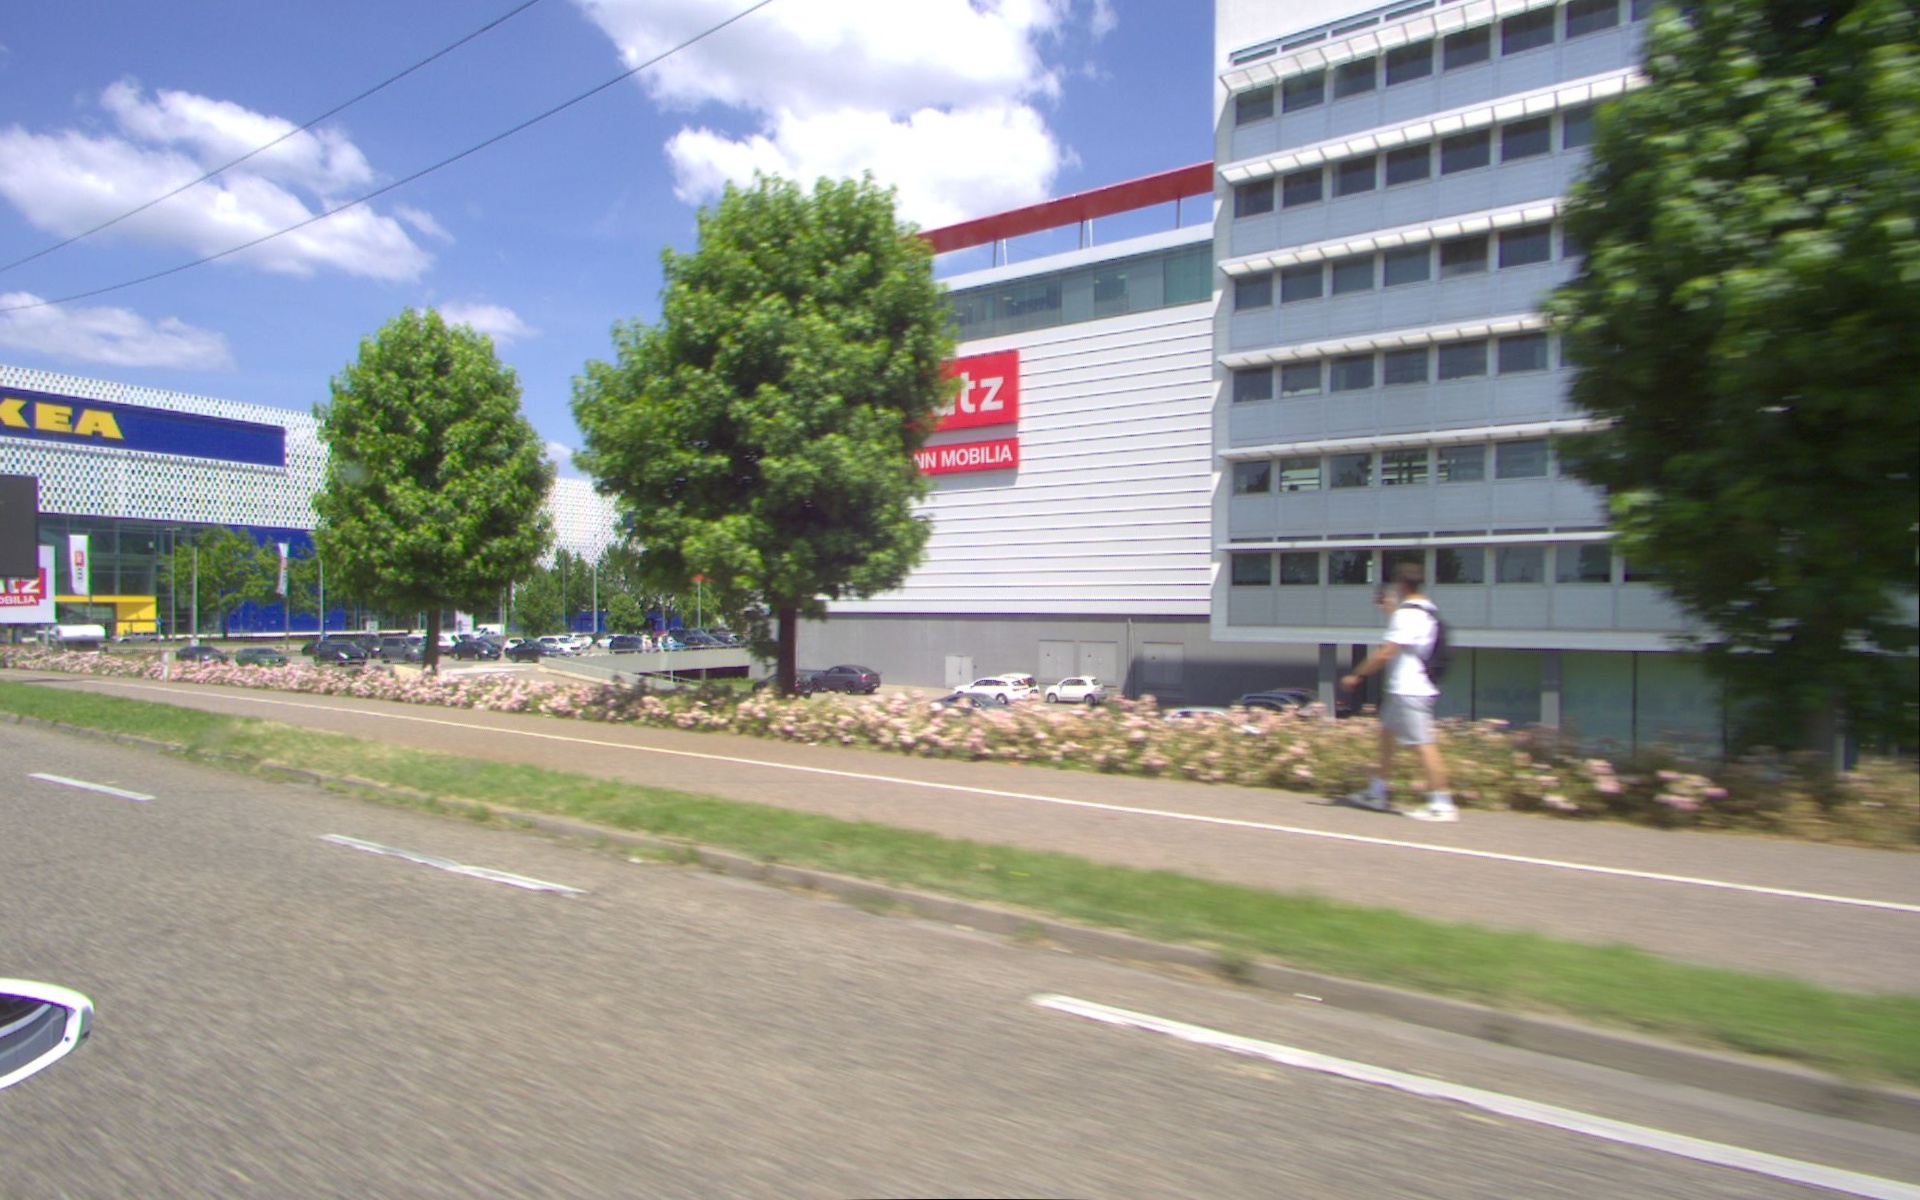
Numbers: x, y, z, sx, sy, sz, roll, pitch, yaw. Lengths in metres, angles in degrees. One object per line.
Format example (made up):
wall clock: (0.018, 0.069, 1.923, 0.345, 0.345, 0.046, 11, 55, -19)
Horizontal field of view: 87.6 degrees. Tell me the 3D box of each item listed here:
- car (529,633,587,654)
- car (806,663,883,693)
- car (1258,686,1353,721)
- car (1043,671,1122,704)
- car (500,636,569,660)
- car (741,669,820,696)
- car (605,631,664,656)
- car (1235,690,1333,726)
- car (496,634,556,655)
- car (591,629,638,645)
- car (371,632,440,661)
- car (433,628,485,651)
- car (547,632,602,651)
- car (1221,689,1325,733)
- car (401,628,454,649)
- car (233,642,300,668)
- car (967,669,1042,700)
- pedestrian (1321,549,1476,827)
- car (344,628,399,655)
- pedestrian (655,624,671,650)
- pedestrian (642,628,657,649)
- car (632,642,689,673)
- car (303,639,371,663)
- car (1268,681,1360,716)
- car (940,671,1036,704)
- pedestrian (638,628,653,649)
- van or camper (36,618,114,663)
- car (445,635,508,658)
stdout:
car: (-33.597, 3.591, 83.708, 4.928, 1.671, 1.991, -1, -2, 32)
car: (-7.166, 4.803, 62.063, 4.523, 1.632, 1.991, -1, -2, 31)
car: (16.109, 4.797, 46.687, 3.942, 1.403, 1.641, -1, -2, 31)
car: (6.815, 4.853, 55.919, 3.942, 1.632, 1.991, -1, -2, 31)
car: (-30.017, 3.389, 70.614, 4.928, 1.631, 1.991, -1, -2, 32)
car: (-10.526, 4.787, 58.555, 4.287, 1.416, 1.992, -1, -2, 30)
car: (-24.936, 3.301, 76.672, 4.270, 1.803, 1.991, -1, -3, 32)
car: (14.595, 4.837, 45.139, 3.942, 1.338, 1.603, -1, -2, 31)
car: (-35.359, 3.578, 81.516, 4.928, 1.631, 1.991, -1, -2, 32)
car: (-36.609, 3.934, 106.097, 4.928, 1.631, 1.991, -1, -2, 32)
car: (-40.412, 3.345, 72.940, 5.455, 2.039, 1.991, -1, -2, 32)
car: (-45.882, 3.630, 91.645, 4.928, 2.032, 1.991, -1, -2, 32)
car: (-34.255, 3.644, 89.020, 4.928, 1.631, 1.991, -1, -2, 32)
car: (13.466, 4.749, 43.167, 3.942, 1.632, 1.991, -1, -2, 31)
car: (-47.480, 3.432, 89.223, 4.928, 1.876, 1.991, -1, -2, 32)
car: (-44.748, 3.520, 64.585, 4.241, 1.517, 1.989, -1, 1, 32)
car: (2.576, 4.910, 58.581, 3.942, 1.632, 1.991, -1, -2, 31)
pedestrian: (3.204, 0.609, 7.310, 0.918, 1.872, 0.754, 0, -2, 34)
car: (-50.260, 3.535, 85.536, 4.928, 2.161, 1.991, -1, -2, 32)
pedestrian: (-21.627, 2.668, 72.922, 0.725, 1.893, 0.740, 0, -2, 29)
pedestrian: (-22.915, 2.846, 73.795, 0.725, 1.577, 0.740, 0, -2, 29)
car: (-23.622, 4.521, 78.976, 4.270, 2.357, 1.991, 0, -3, 32)
car: (-42.821, 3.476, 68.781, 4.928, 1.570, 1.991, -1, -2, 32)
car: (17.408, 4.820, 49.247, 3.942, 1.465, 1.991, -1, -2, 31)
car: (1.561, 4.862, 56.159, 5.072, 1.632, 1.991, -1, -2, 31)
pedestrian: (-22.817, 2.796, 72.678, 0.725, 1.577, 0.740, 0, -2, 29)
van or camper: (-62.057, 2.813, 70.184, 7.127, 3.058, 2.501, -1, -2, 36)
car: (-37.188, 3.570, 76.978, 4.928, 1.631, 1.991, -1, -2, 32)
